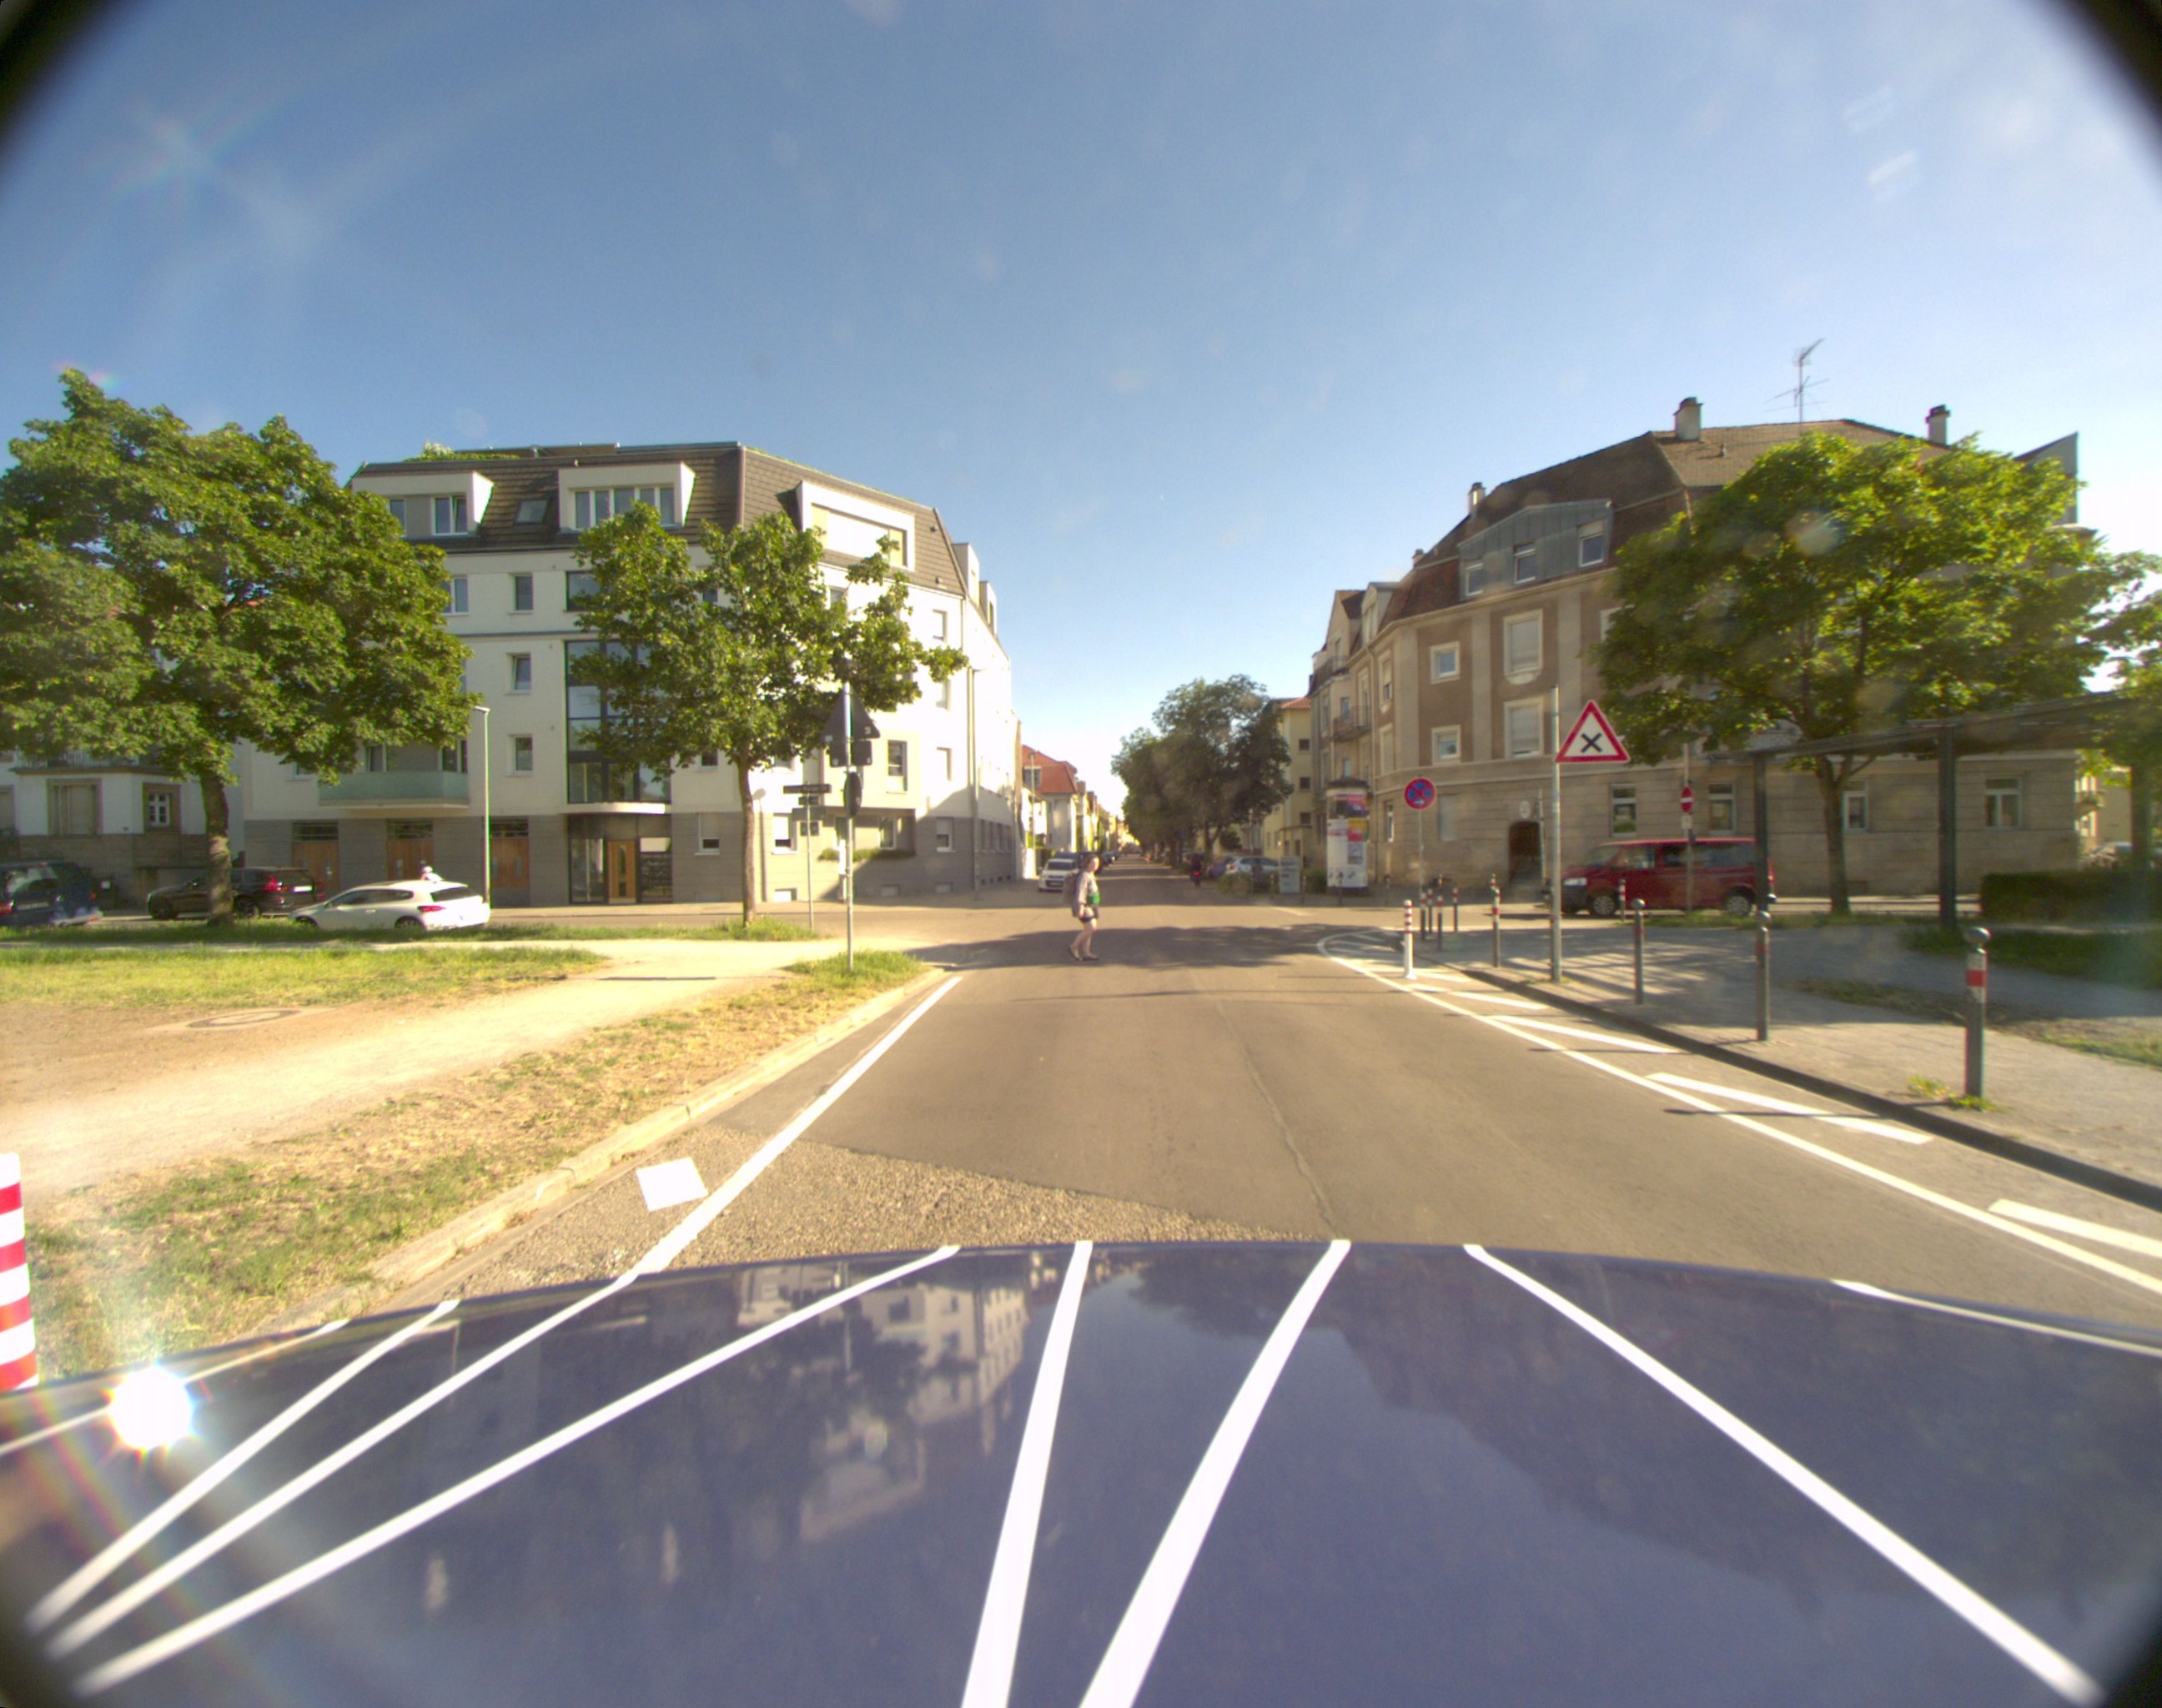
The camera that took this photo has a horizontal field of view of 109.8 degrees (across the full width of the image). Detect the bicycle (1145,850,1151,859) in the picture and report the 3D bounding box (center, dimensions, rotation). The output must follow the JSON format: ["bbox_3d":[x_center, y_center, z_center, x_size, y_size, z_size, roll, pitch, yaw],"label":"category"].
[{"bbox_3d":[8.606,0.080,97.722,0.644,1.102,2.066,-1,0,5],"label":"bicycle"}]

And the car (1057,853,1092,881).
[{"bbox_3d":[-0.344,0.727,44.933,1.664,1.533,4.067,2,1,4],"label":"car"}]

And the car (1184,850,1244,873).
[{"bbox_3d":[9.403,0.492,53.882,3.791,1.486,1.691,-2,1,-9],"label":"car"}]

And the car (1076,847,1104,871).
[{"bbox_3d":[0.759,0.372,61.288,1.883,1.860,4.402,2,1,4],"label":"car"}]

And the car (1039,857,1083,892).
[{"bbox_3d":[-0.871,0.902,35.077,1.664,1.440,3.689,2,1,4],"label":"car"}]

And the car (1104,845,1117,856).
[{"bbox_3d":[4.521,-0.515,117.181,1.883,1.734,4.403,-1,0,4],"label":"car"}]

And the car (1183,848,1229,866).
[{"bbox_3d":[11.282,0.232,68.577,3.789,1.486,1.692,-2,1,-1],"label":"car"}]

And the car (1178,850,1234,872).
[{"bbox_3d":[9.338,0.493,57.034,3.791,1.486,1.691,-2,1,-9],"label":"car"}]

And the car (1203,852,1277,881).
[{"bbox_3d":[8.913,0.703,42.677,3.788,1.486,1.692,-2,1,1],"label":"car"}]

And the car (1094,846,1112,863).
[{"bbox_3d":[2.678,0.061,90.787,1.883,1.860,4.403,-1,0,4],"label":"car"}]

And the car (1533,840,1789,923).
[{"bbox_3d":[14.601,0.648,19.429,4.879,1.950,1.897,0,2,8],"label":"car"}]

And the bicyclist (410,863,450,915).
[{"bbox_3d":[-18.782,0.998,21.920,0.687,1.455,0.497,-1,1,-3],"label":"bicyclist"}]

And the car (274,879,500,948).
[{"bbox_3d":[-16.941,1.432,18.679,3.990,1.426,1.739,-1,4,4],"label":"car"}]

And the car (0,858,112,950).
[{"bbox_3d":[-27.518,1.227,19.140,3.989,2.073,1.783,-1,5,5],"label":"car"}]

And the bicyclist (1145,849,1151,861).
[{"bbox_3d":[8.601,0.138,97.630,0.644,1.557,1.043,-1,1,5],"label":"bicyclist"}]

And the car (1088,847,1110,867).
[{"bbox_3d":[1.849,0.294,75.430,1.883,1.860,4.402,2,1,4],"label":"car"}]

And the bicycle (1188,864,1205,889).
[{"bbox_3d":[5.331,1.038,35.248,0.644,1.102,2.066,-1,0,5],"label":"bicycle"}]

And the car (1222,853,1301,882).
[{"bbox_3d":[9.577,0.700,40.447,3.788,1.436,1.692,-2,1,1],"label":"car"}]

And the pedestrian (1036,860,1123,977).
[{"bbox_3d":[-0.037,0.966,11.858,1.090,1.665,0.912,-4,1,-13],"label":"pedestrian"}]

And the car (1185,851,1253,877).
[{"bbox_3d":[8.640,0.609,47.718,3.791,1.486,1.691,-2,1,-9],"label":"car"}]

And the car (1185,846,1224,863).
[{"bbox_3d":[12.331,0.046,75.818,3.528,1.486,1.692,-2,1,-1],"label":"car"}]

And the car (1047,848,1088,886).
[{"bbox_3d":[-0.643,0.636,39.534,1.664,1.825,4.258,2,1,4],"label":"car"}]

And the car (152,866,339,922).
[{"bbox_3d":[-27.576,1.295,25.175,4.284,1.673,1.896,-1,2,5],"label":"car"}]

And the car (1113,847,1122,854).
[{"bbox_3d":[8.053,-0.792,168.146,1.883,1.427,4.348,-1,0,4],"label":"car"}]

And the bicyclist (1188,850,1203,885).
[{"bbox_3d":[5.320,0.608,35.209,0.644,1.610,0.637,-1,1,5],"label":"bicyclist"}]

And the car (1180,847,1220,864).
[{"bbox_3d":[11.446,0.146,72.991,3.528,1.486,1.692,-2,1,-1],"label":"car"}]

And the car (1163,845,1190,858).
[{"bbox_3d":[13.247,-0.285,105.280,3.527,1.693,1.692,-2,1,2],"label":"car"}]

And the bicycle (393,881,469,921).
[{"bbox_3d":[-18.743,1.349,21.931,1.708,1.082,0.507,-1,1,-2],"label":"bicycle"}]
